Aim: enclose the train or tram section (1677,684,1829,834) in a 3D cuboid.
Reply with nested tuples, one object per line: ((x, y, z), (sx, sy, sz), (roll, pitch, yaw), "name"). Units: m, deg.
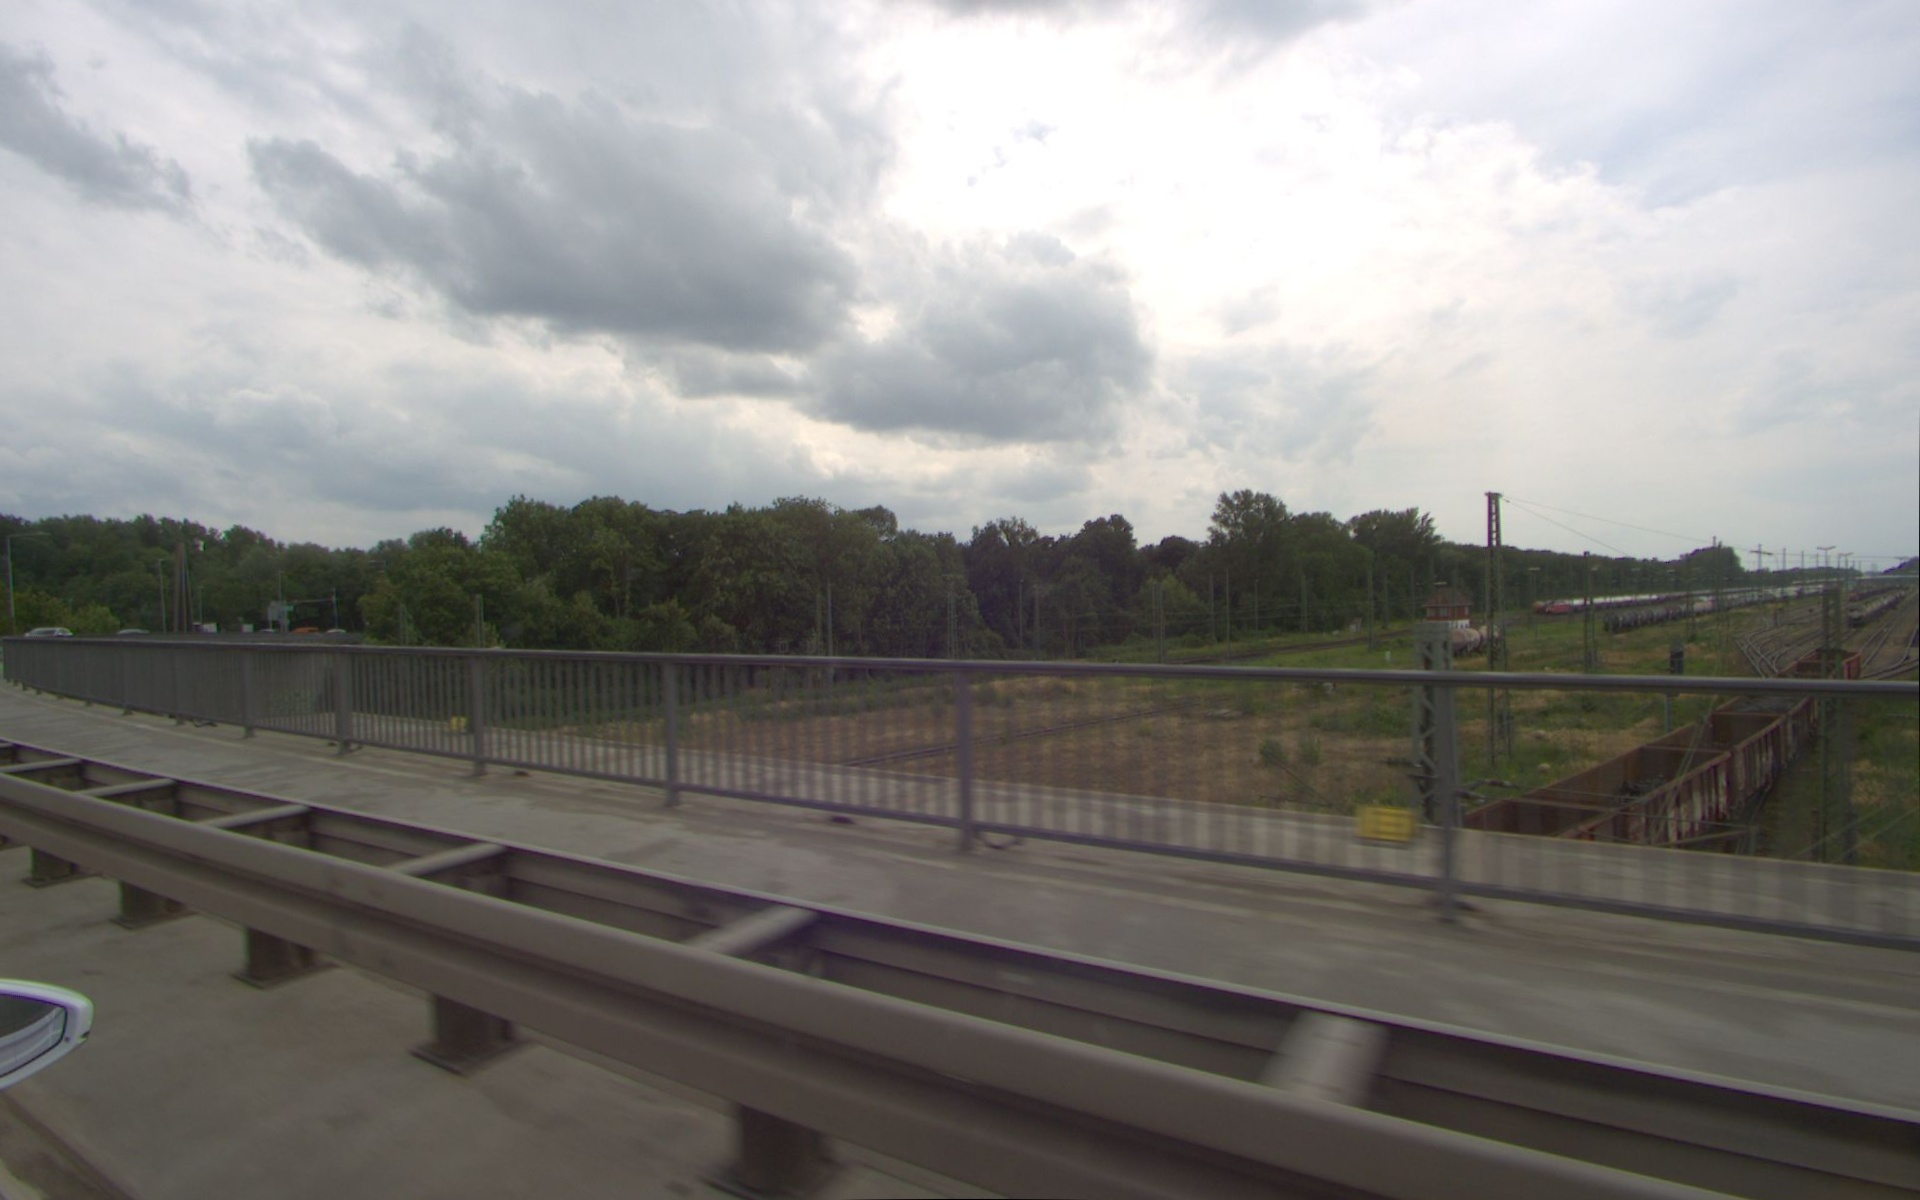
((39.014, 7.307, 48.960), (13.771, 5.750, 3.808), (2, -2, -43), "train or tram section")

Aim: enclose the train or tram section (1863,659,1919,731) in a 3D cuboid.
((89.282, 8.590, 94.615), (25.442, 5.550, 3.955), (2, -2, -44), "train or tram section")

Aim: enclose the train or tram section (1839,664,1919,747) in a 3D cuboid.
((74.444, 8.263, 80.693), (15.406, 5.696, 3.770), (2, -2, -42), "train or tram section")

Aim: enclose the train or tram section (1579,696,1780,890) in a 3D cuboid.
((28.800, 7.043, 39.623), (14.114, 5.670, 3.625), (2, -2, -42), "train or tram section")

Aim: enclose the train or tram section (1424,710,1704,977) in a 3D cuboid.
((18.847, 6.623, 30.510), (13.512, 5.645, 3.619), (2, -2, -42), "train or tram section")

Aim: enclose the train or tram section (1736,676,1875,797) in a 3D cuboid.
((49.678, 7.584, 58.574), (14.854, 5.749, 3.944), (1, -2, -41), "train or tram section")

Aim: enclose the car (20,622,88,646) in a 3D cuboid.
((-63.603, 2.370, 70.413), (1.914, 1.613, 4.762), (1, -2, -21), "car")

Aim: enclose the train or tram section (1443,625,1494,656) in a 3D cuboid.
((70.981, 5.608, 139.705), (3.219, 4.221, 11.285), (-1, -2, 44), "train or tram section")

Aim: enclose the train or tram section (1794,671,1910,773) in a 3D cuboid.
((61.996, 8.058, 69.319), (18.085, 5.714, 3.925), (2, -2, -42), "train or tram section")
